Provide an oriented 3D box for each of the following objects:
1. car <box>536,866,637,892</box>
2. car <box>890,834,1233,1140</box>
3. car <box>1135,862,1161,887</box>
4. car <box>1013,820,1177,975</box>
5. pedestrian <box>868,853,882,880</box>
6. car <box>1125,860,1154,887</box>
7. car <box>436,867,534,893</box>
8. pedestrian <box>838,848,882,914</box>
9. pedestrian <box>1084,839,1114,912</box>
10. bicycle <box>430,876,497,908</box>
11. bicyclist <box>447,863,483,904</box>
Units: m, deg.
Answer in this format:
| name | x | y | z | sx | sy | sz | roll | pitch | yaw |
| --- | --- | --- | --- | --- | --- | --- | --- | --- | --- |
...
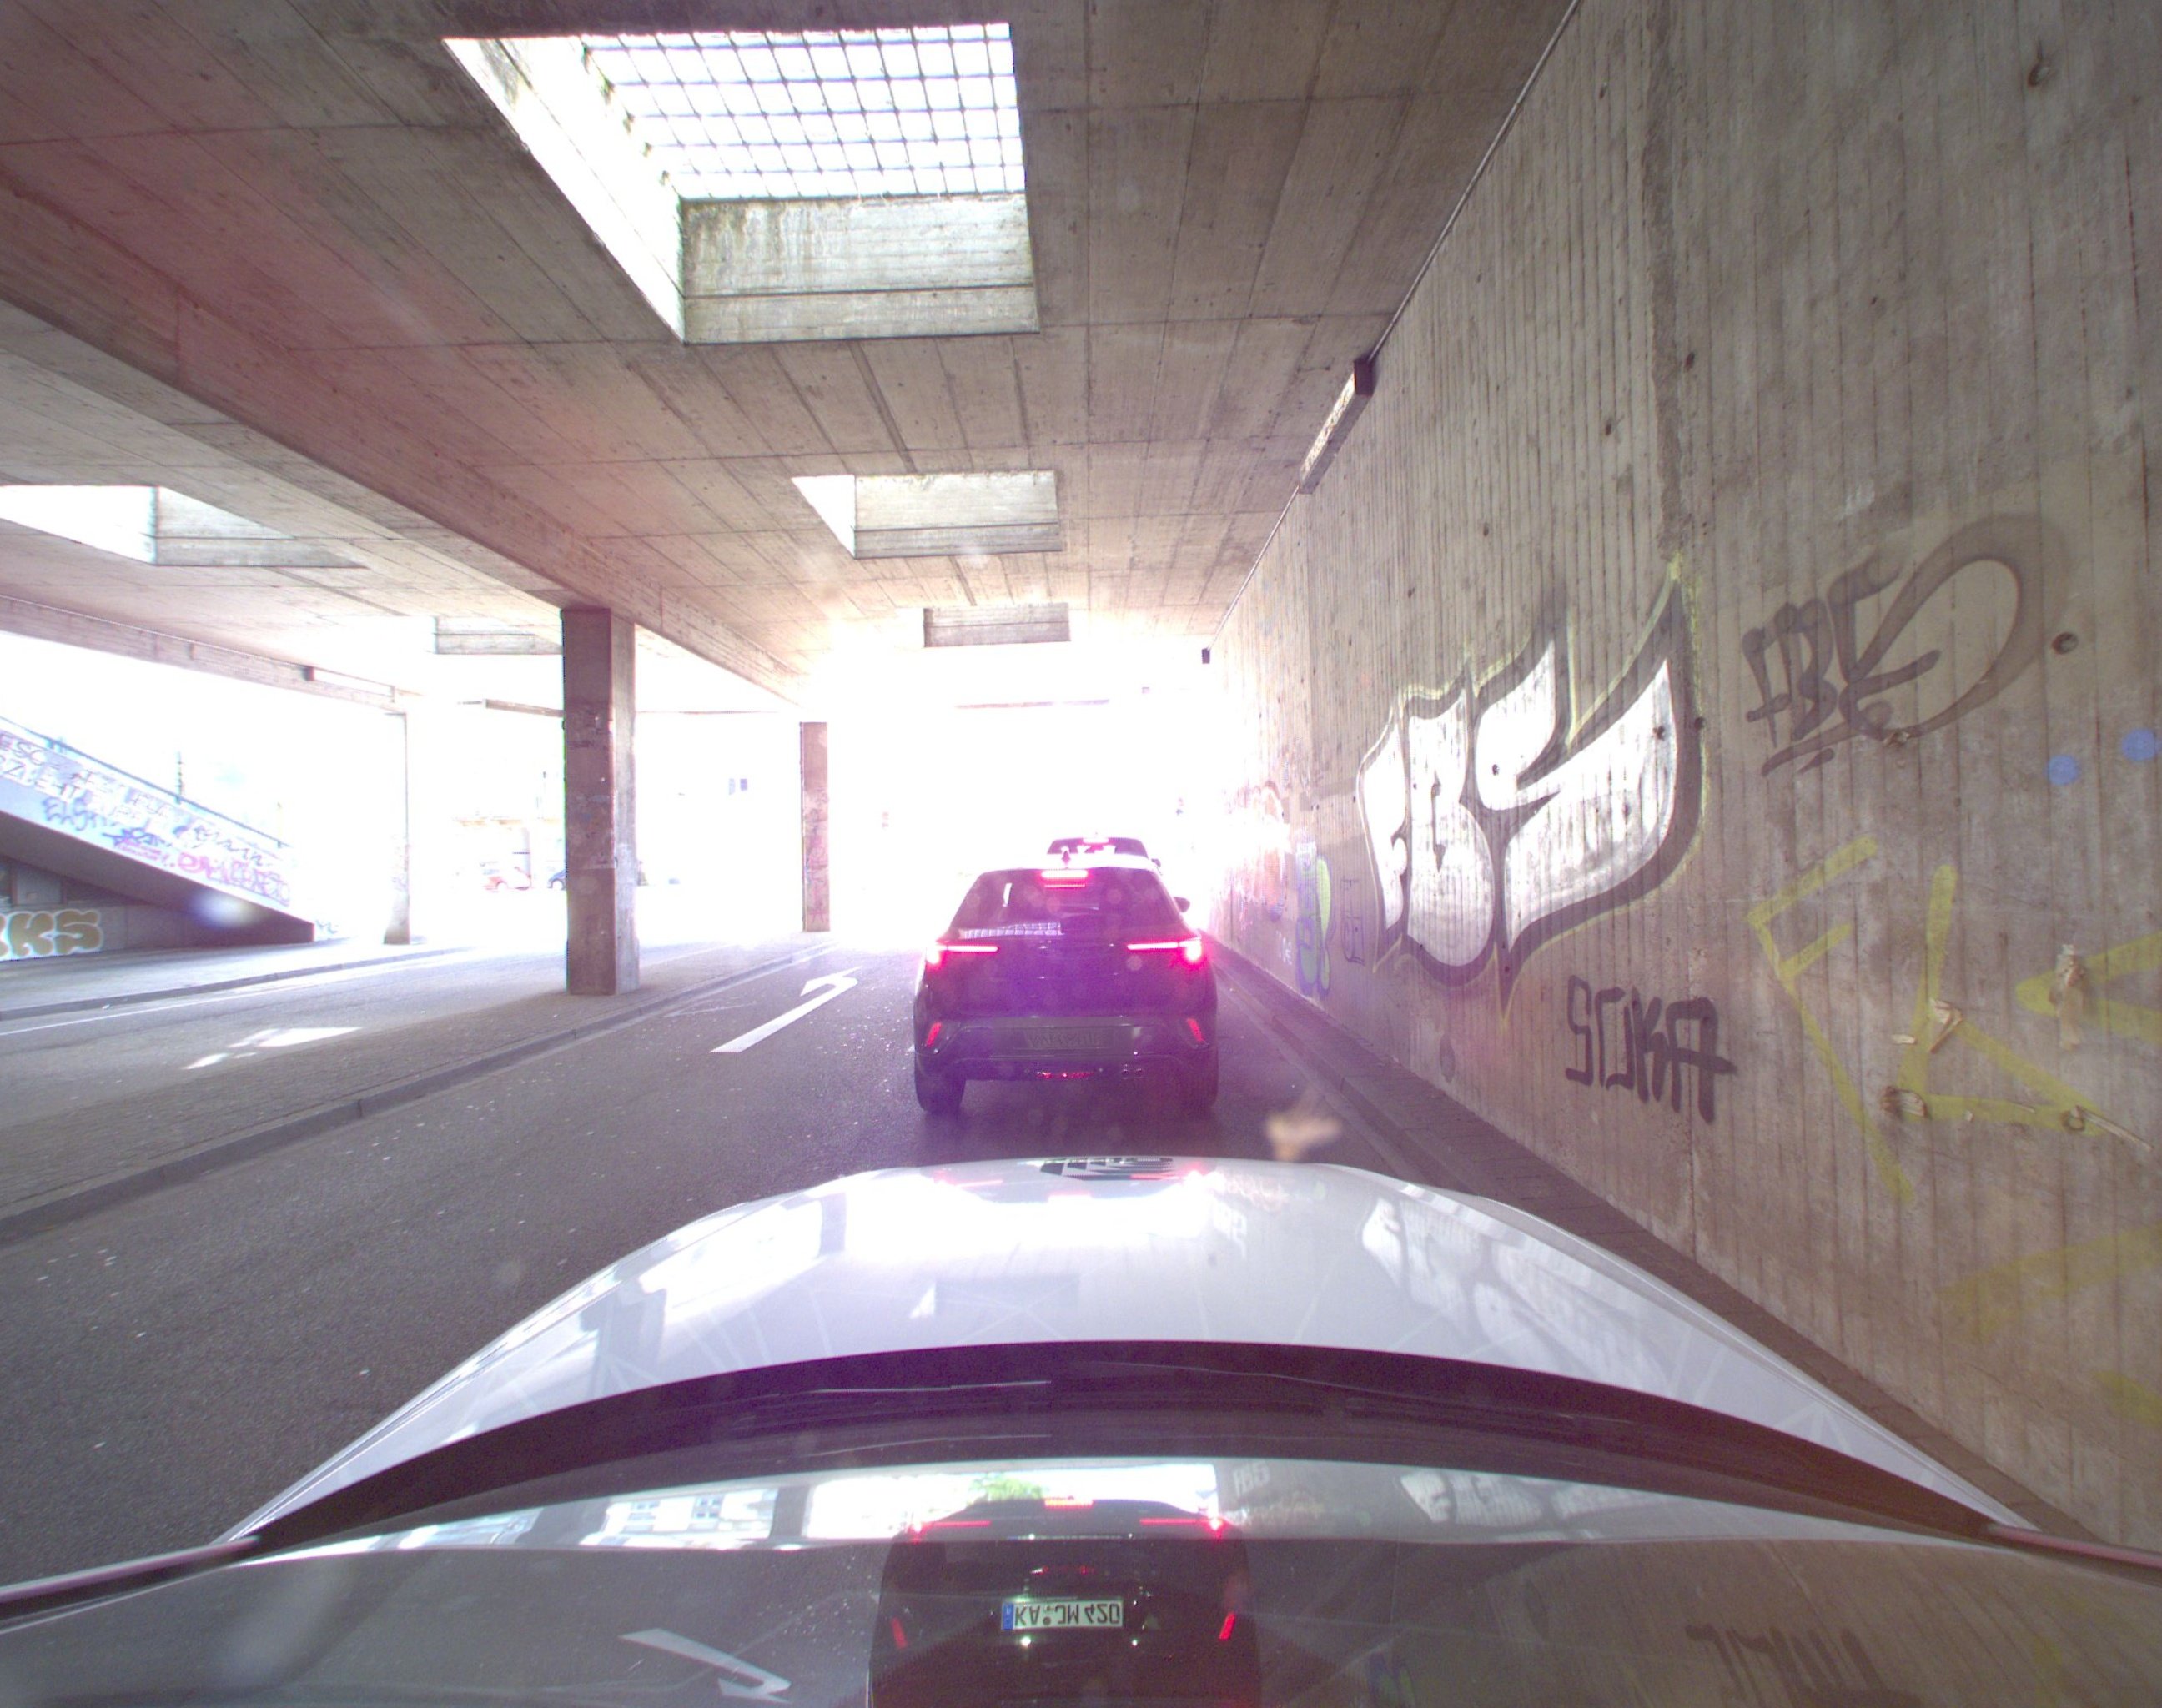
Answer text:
| name | x | y | z | sx | sy | sz | roll | pitch | yaw |
| --- | --- | --- | --- | --- | --- | --- | --- | --- | --- |
| car | -27.378 | 1.372 | 45.212 | 4.393 | 1.409 | 1.925 | 0 | -1 | -1 |
| car | -0.035 | 0.649 | 6.193 | 1.758 | 1.571 | 4.002 | 0 | 1 | 2 |
| car | 5.659 | 1.704 | 68.505 | 1.983 | 1.970 | 4.172 | 0 | -1 | 7 |
| car | 0.239 | 0.540 | 12.123 | 1.986 | 1.871 | 4.002 | -2 | 0 | 2 |
| pedestrian | -12.495 | 0.763 | 49.433 | 0.669 | 1.637 | 0.741 | 0 | -1 | 1 |
| car | 4.524 | 1.443 | 62.354 | 1.983 | 1.970 | 4.172 | 0 | -1 | 7 |
| car | -33.042 | 1.426 | 45.245 | 3.975 | 1.409 | 1.925 | 0 | -1 | -1 |
| pedestrian | -5.990 | 0.724 | 22.084 | 0.925 | 1.762 | 0.795 | 0 | -1 | 3 |
| pedestrian | 0.444 | 0.516 | 19.978 | 0.728 | 1.734 | 0.874 | 0 | -1 | 1 |
| bicycle | -22.375 | 1.370 | 29.535 | 1.978 | 1.050 | 0.720 | -2 | -1 | 8 |
| bicyclist | -22.310 | 1.071 | 29.515 | 0.733 | 1.423 | 0.686 | -3 | -1 | 8 |
